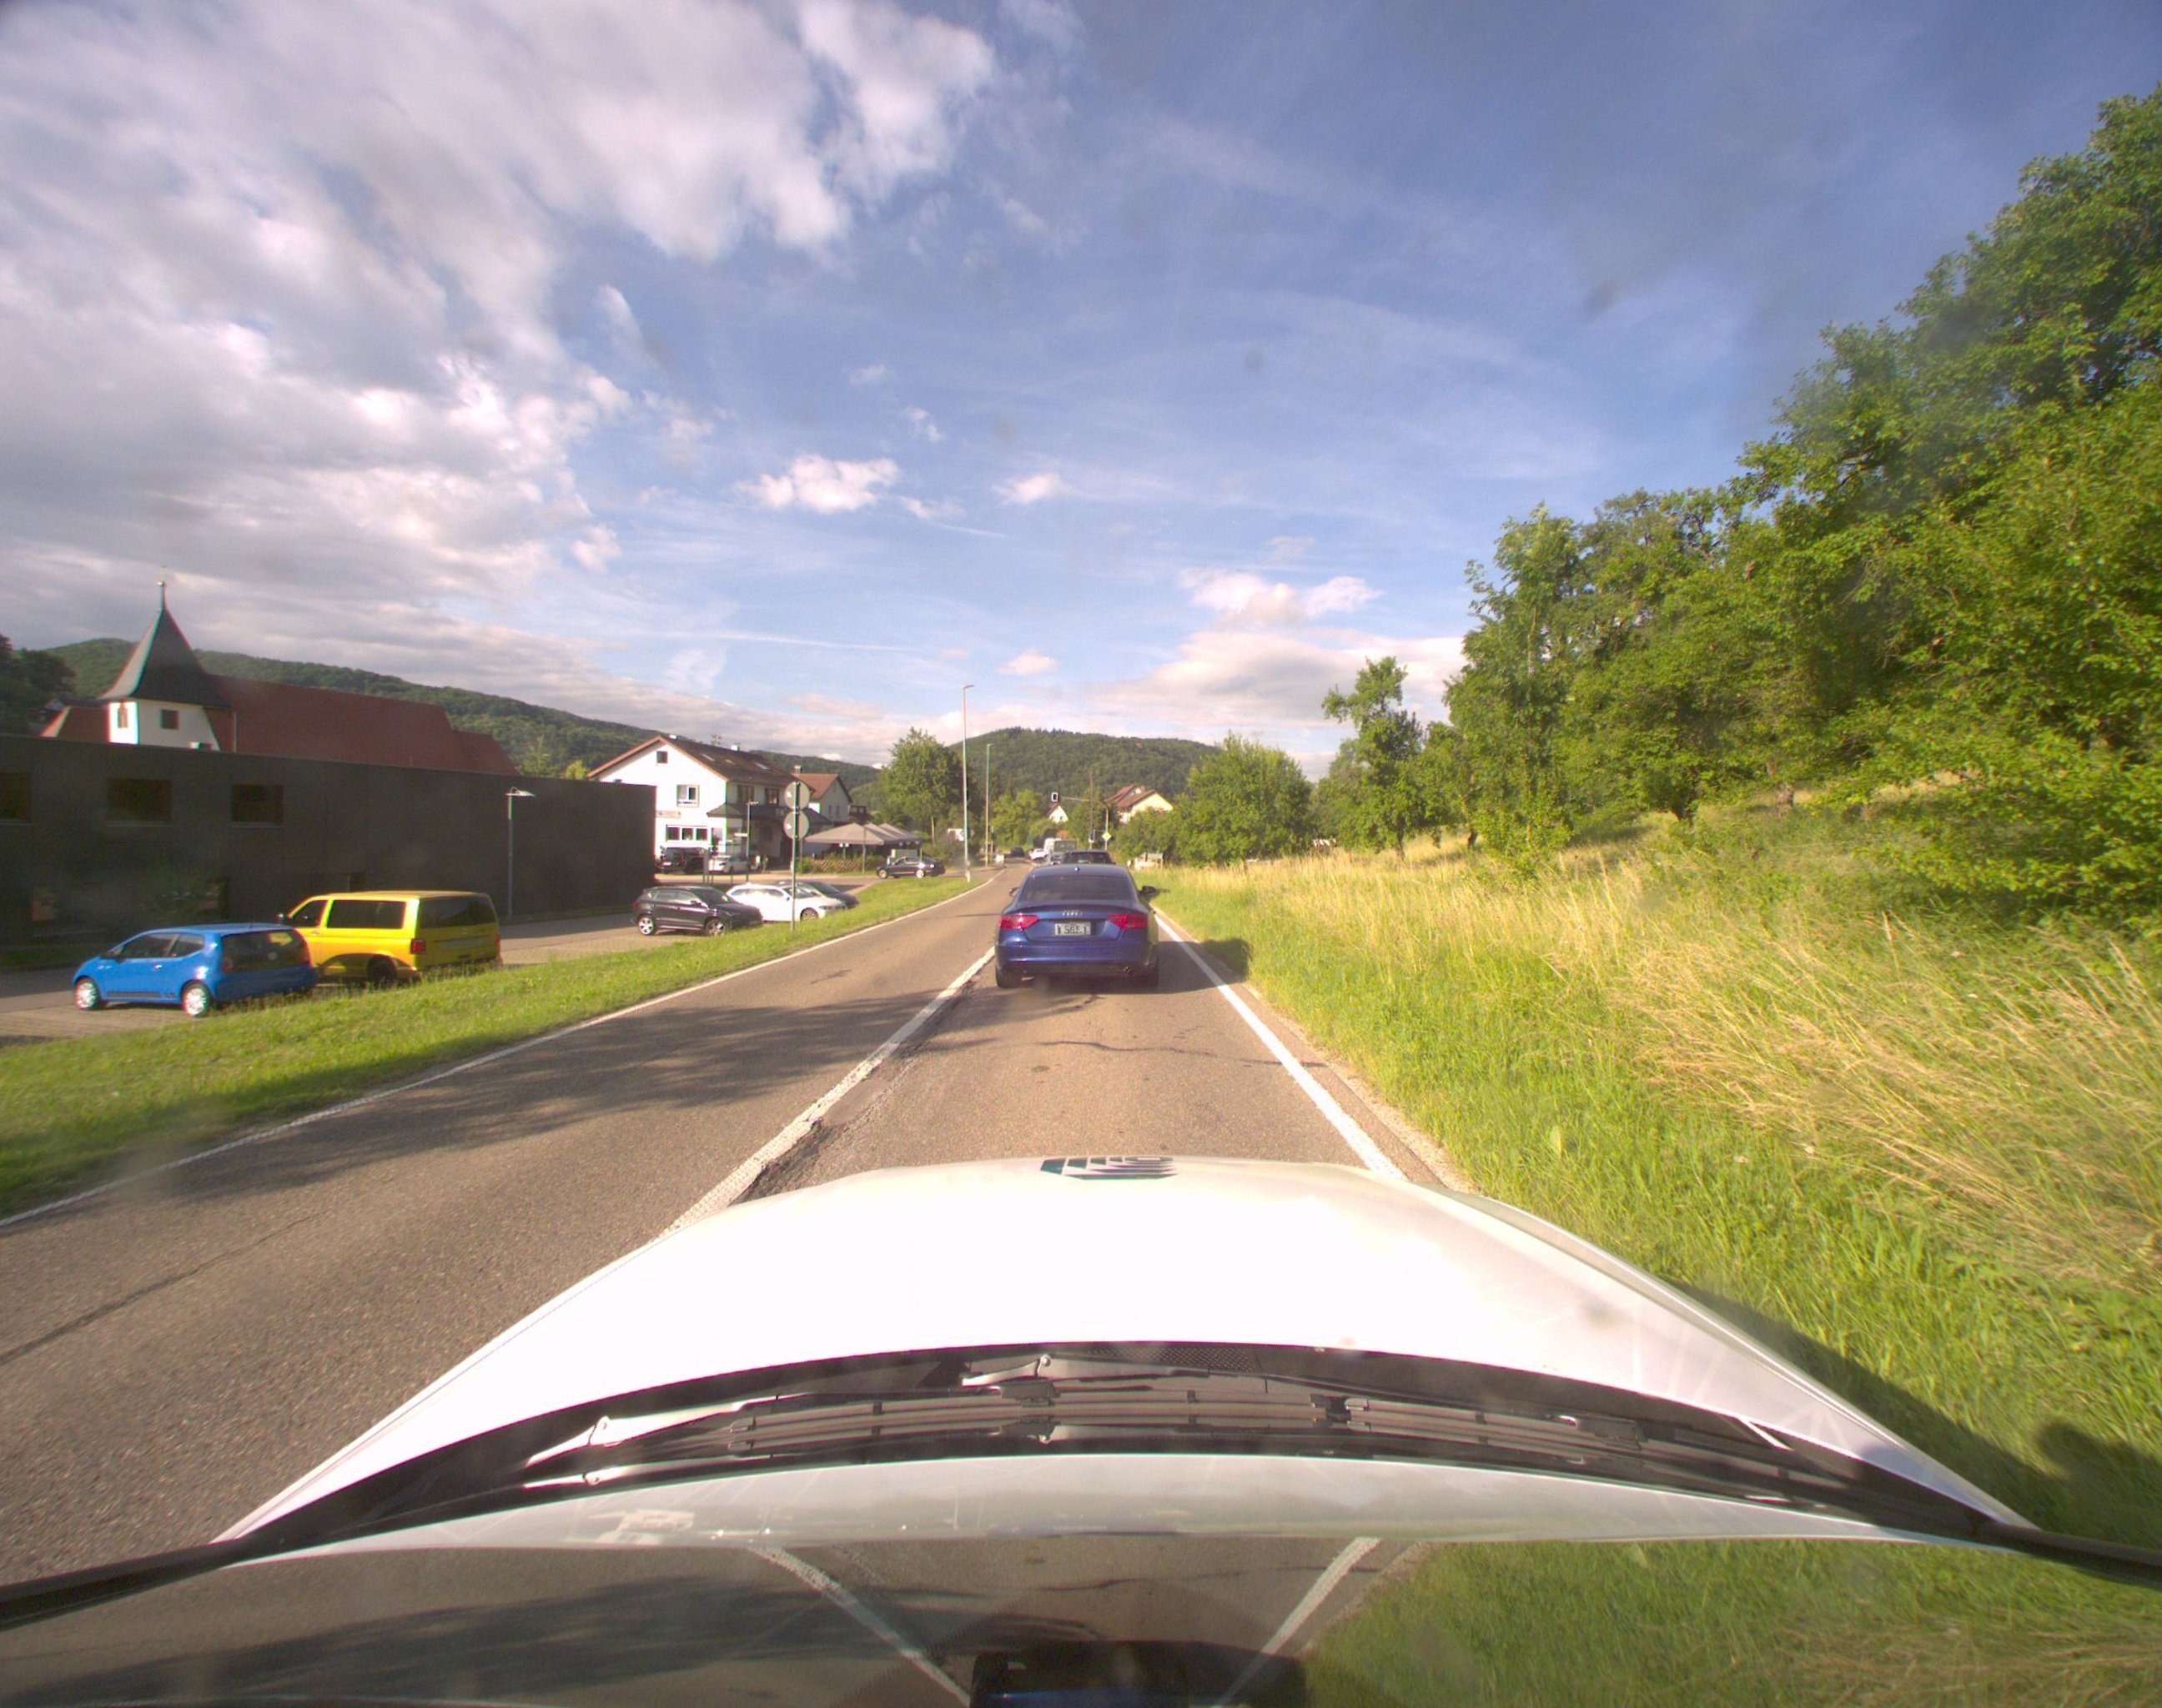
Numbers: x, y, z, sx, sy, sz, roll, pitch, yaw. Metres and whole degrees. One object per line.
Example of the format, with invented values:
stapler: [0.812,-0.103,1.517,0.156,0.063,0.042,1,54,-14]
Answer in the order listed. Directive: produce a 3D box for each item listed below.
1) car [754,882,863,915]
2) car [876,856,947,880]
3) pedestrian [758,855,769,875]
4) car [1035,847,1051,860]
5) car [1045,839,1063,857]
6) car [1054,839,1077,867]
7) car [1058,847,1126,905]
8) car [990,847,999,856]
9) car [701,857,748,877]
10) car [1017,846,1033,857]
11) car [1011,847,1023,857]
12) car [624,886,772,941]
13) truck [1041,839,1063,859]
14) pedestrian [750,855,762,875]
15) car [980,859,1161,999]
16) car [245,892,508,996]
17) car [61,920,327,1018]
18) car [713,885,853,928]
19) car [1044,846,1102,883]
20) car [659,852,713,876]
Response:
car: [-11.468,1.865,34.418,3.963,1.310,1.765,0,-1,9]
car: [-10.669,0.877,51.396,3.952,1.442,1.930,0,-1,21]
pedestrian: [-23.374,0.819,59.933,0.606,1.503,0.590,0,-1,1]
car: [-4.698,-0.047,99.722,1.696,1.490,3.517,0,-1,-8]
car: [-2.609,-0.574,78.511,1.742,1.639,3.996,0,-1,-3]
car: [-1.233,-0.044,64.806,1.742,2.195,3.996,0,-1,-3]
car: [0.425,0.631,25.094,1.737,1.639,4.006,0,-1,6]
car: [-16.447,-0.492,155.098,1.625,1.576,3.669,0,-1,-8]
car: [-25.833,0.938,59.190,1.550,1.450,4.001,0,-1,1]
car: [-7.450,-0.325,108.863,1.698,1.490,3.513,0,-1,-11]
car: [-9.913,-0.322,126.117,1.695,1.490,3.520,0,-1,-5]
car: [-12.599,1.914,26.888,3.997,1.637,2.007,0,-1,13]
truck: [-3.067,-0.458,84.071,1.696,1.953,5.906,0,-1,-8]
pedestrian: [-24.030,0.821,60.176,0.606,1.503,0.590,0,-1,1]
car: [0.074,0.778,10.212,1.786,1.388,4.006,-1,-1,6]
car: [-14.834,1.801,17.202,4.575,1.868,2.009,0,-1,16]
car: [-15.989,2.016,14.752,3.471,1.472,1.638,0,-1,11]
car: [-11.451,1.987,31.369,4.780,1.493,1.888,0,-1,13]
car: [-0.310,0.502,38.755,1.793,1.639,4.478,0,-1,12]
car: [-28.406,0.723,58.717,1.880,1.662,4.001,0,-1,1]
